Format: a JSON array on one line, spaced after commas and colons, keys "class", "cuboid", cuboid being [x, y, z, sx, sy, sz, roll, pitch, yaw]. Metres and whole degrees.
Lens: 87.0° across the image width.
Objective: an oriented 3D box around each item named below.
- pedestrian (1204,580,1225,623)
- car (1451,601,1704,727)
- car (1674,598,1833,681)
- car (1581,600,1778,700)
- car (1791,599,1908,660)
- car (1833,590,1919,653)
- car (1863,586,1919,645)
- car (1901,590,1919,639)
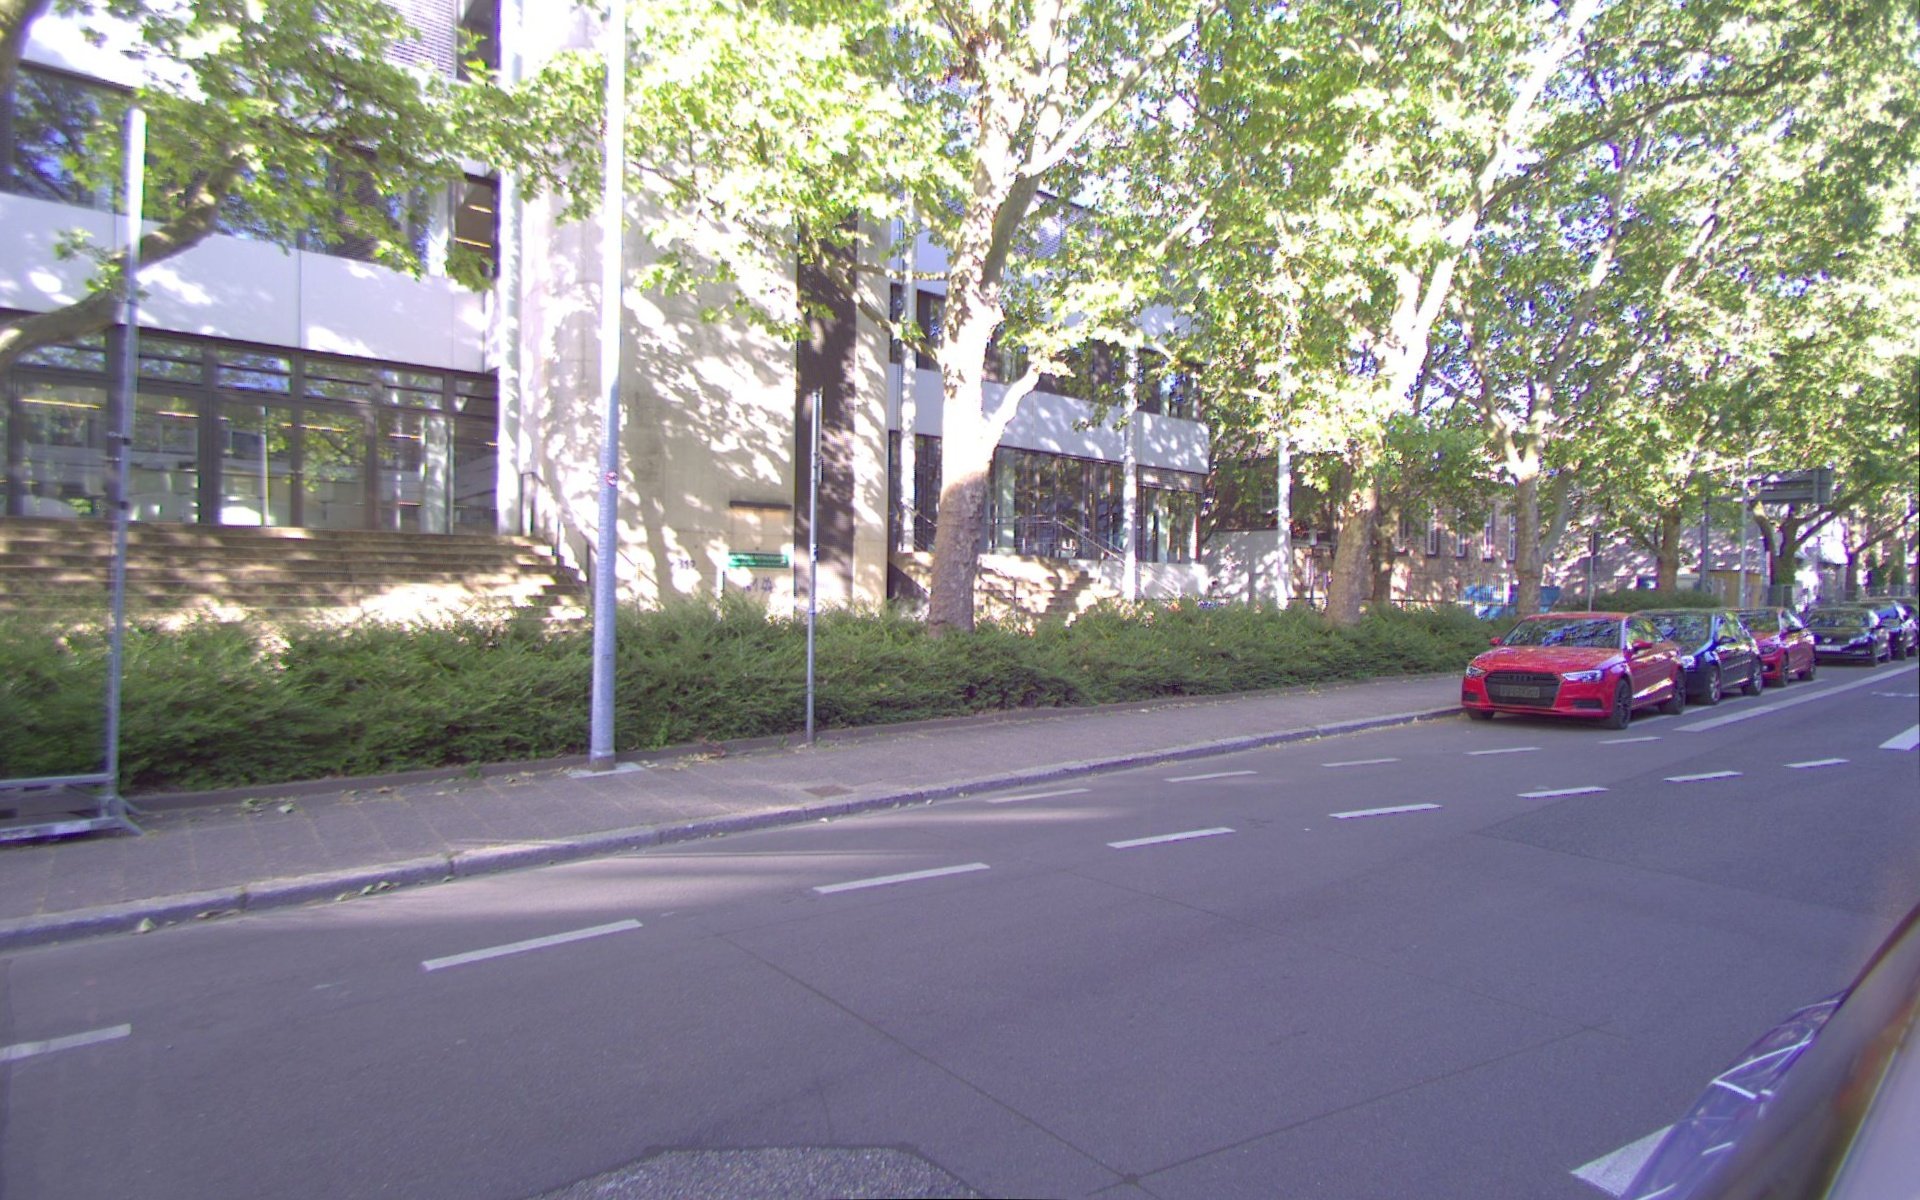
[{"class": "pedestrian", "cuboid": [9.979, 0.050, 39.677, 0.649, 1.691, 0.525, 0, 0, -39]}, {"class": "car", "cuboid": [8.288, 0.737, 13.458, 3.930, 1.427, 1.753, 0, -1, -41]}, {"class": "car", "cuboid": [15.715, 0.717, 19.980, 3.841, 1.486, 1.753, 0, -1, -41]}, {"class": "car", "cuboid": [11.863, 0.735, 16.603, 3.841, 1.451, 1.753, 0, -1, -41]}, {"class": "car", "cuboid": [22.960, 0.712, 26.078, 3.841, 1.451, 1.753, 0, -1, -41]}, {"class": "car", "cuboid": [26.727, 0.582, 29.191, 4.101, 1.674, 1.753, 0, -1, -41]}, {"class": "car", "cuboid": [30.984, 0.482, 32.981, 4.370, 1.843, 1.753, 0, -1, -41]}, {"class": "car", "cuboid": [36.207, 0.512, 37.278, 4.370, 1.750, 1.753, 0, -1, -41]}]
